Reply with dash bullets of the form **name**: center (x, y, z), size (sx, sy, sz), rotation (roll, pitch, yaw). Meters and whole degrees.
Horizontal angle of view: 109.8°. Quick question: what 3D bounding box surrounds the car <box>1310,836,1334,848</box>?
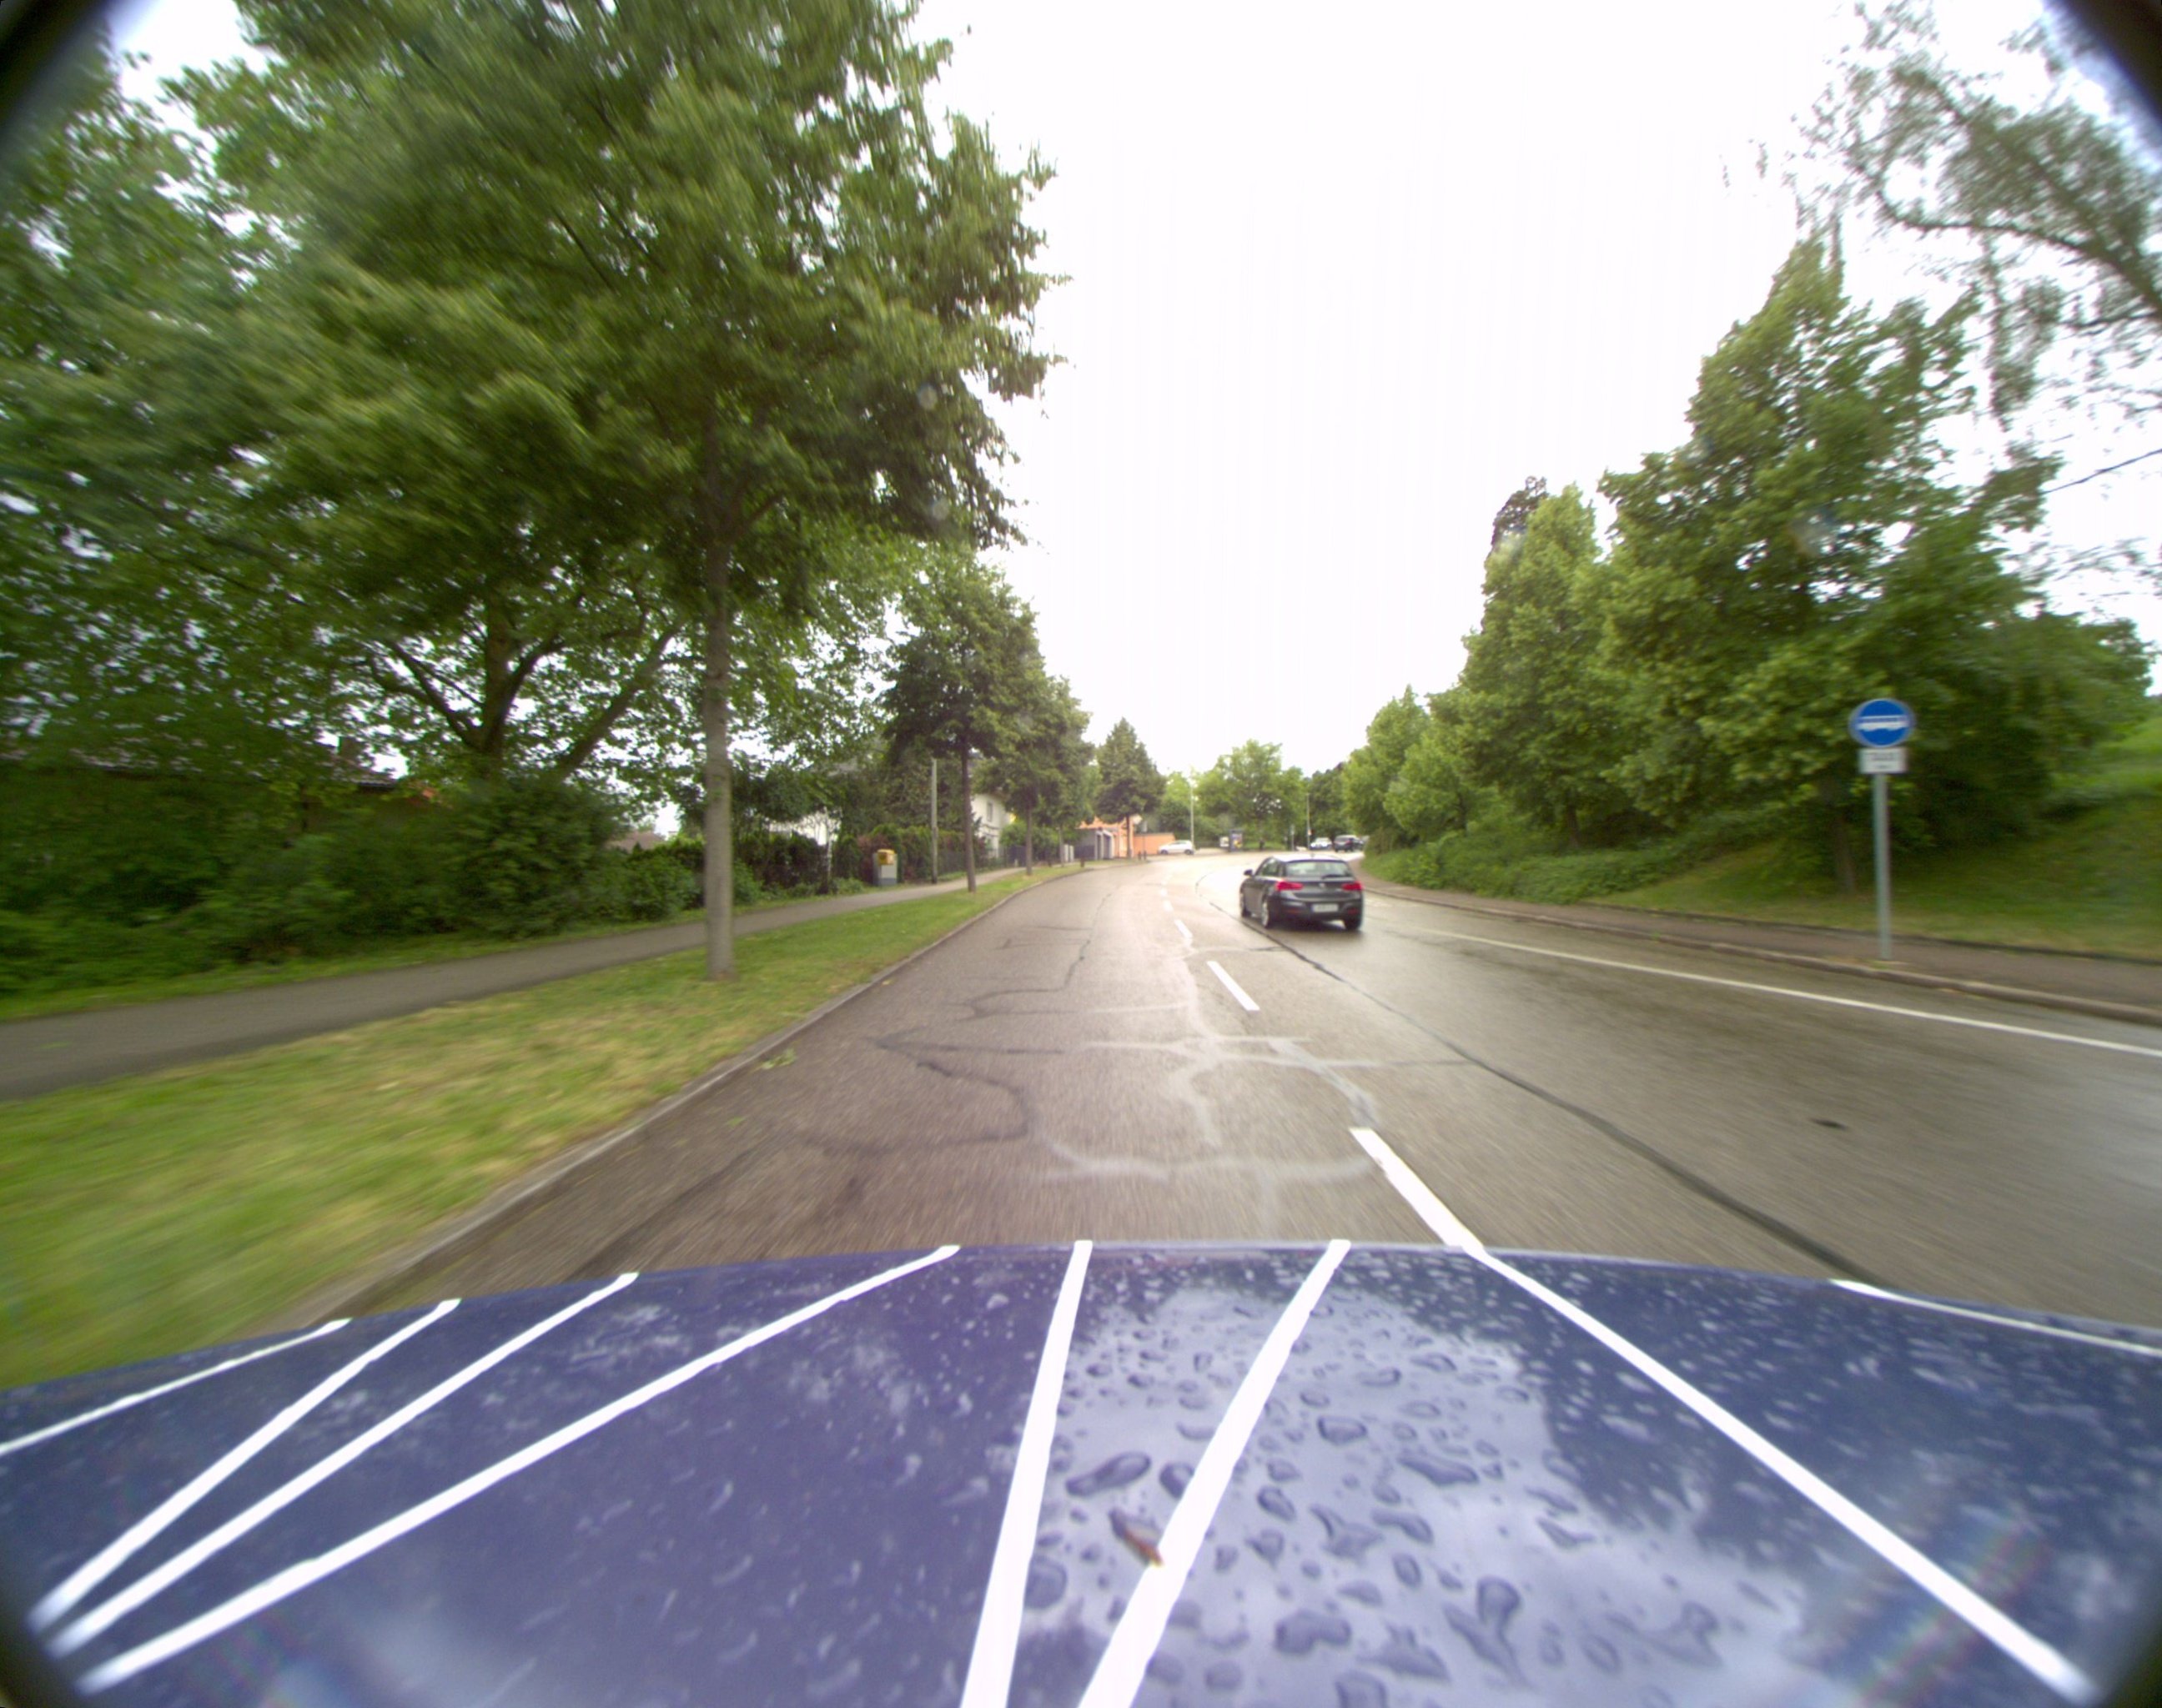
- **car**: center (29.750, -1.481, 93.814), size (1.858, 1.406, 4.394), rotation (-1, -1, 31)

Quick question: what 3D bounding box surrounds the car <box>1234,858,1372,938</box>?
- **car**: center (4.307, 0.778, 15.388), size (1.725, 1.375, 4.140), rotation (0, 0, 2)

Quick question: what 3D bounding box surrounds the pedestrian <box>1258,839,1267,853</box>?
- **pedestrian**: center (22.541, -1.011, 94.562), size (0.926, 1.645, 1.099), rotation (0, 1, 22)

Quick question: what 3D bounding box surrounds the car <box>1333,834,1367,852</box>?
- **car**: center (26.903, -1.111, 75.999), size (1.811, 1.568, 4.694), rotation (0, 3, 37)

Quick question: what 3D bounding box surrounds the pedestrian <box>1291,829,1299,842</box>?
- **pedestrian**: center (28.570, -2.423, 101.398), size (0.723, 1.723, 0.821), rotation (0, 1, 33)

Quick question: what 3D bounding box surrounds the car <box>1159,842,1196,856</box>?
- **car**: center (10.667, -0.562, 83.754), size (3.863, 1.557, 1.728), rotation (1, 1, 12)
